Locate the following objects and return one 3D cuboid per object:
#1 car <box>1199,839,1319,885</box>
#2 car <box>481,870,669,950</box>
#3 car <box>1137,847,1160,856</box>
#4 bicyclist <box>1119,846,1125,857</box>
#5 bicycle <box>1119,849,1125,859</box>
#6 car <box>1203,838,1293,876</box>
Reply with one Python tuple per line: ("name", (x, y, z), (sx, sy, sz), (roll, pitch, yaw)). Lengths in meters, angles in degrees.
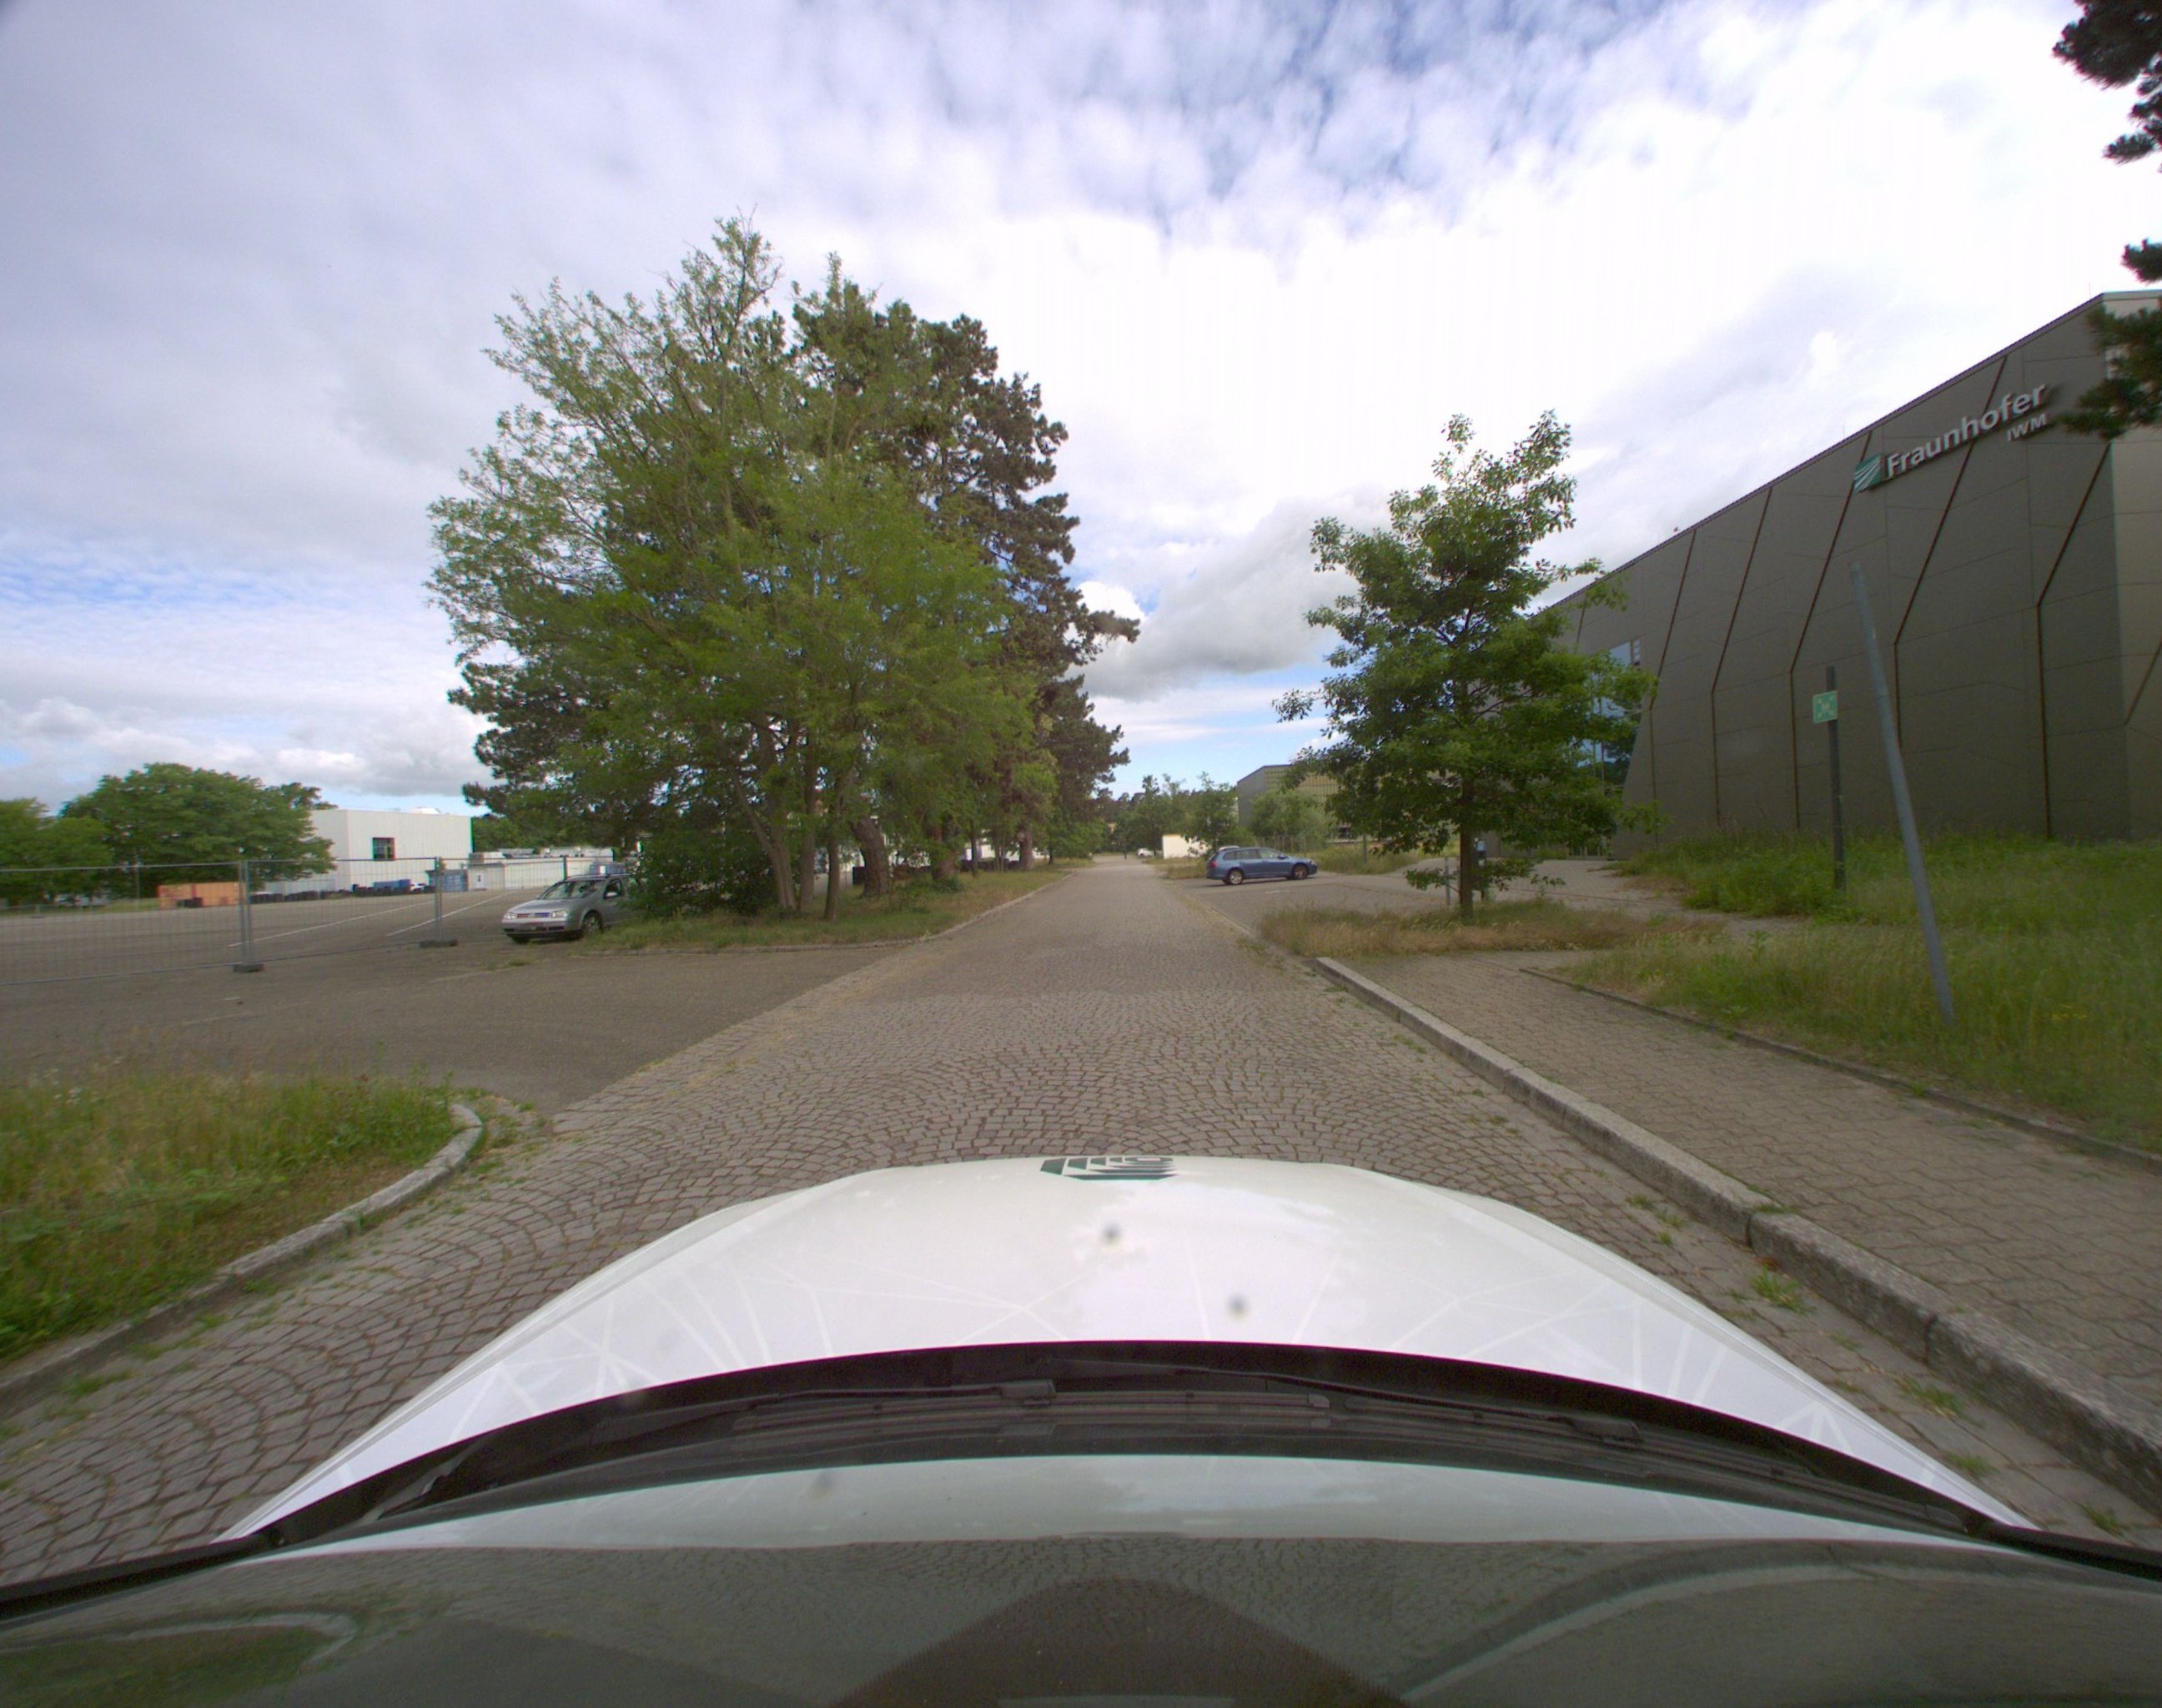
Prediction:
("car", (7.272, 0.319, 33.553), (4.466, 1.462, 1.934), (-5, 0, 0))
("car", (-11.846, 1.240, 19.456), (1.723, 1.432, 4.164), (-3, 1, 2))
("car", (12.680, -0.490, 153.335), (4.303, 1.549, 2.002), (-3, 0, 3))
("bicyclist", (6.159, -0.399, 121.699), (0.894, 1.542, 0.868), (-2, 1, 1))
("bicycle", (6.180, 0.014, 121.660), (0.820, 1.376, 2.043), (-2, 1, 2))
("car", (8.370, 0.155, 40.976), (4.094, 1.572, 1.765), (-5, 0, 0))
